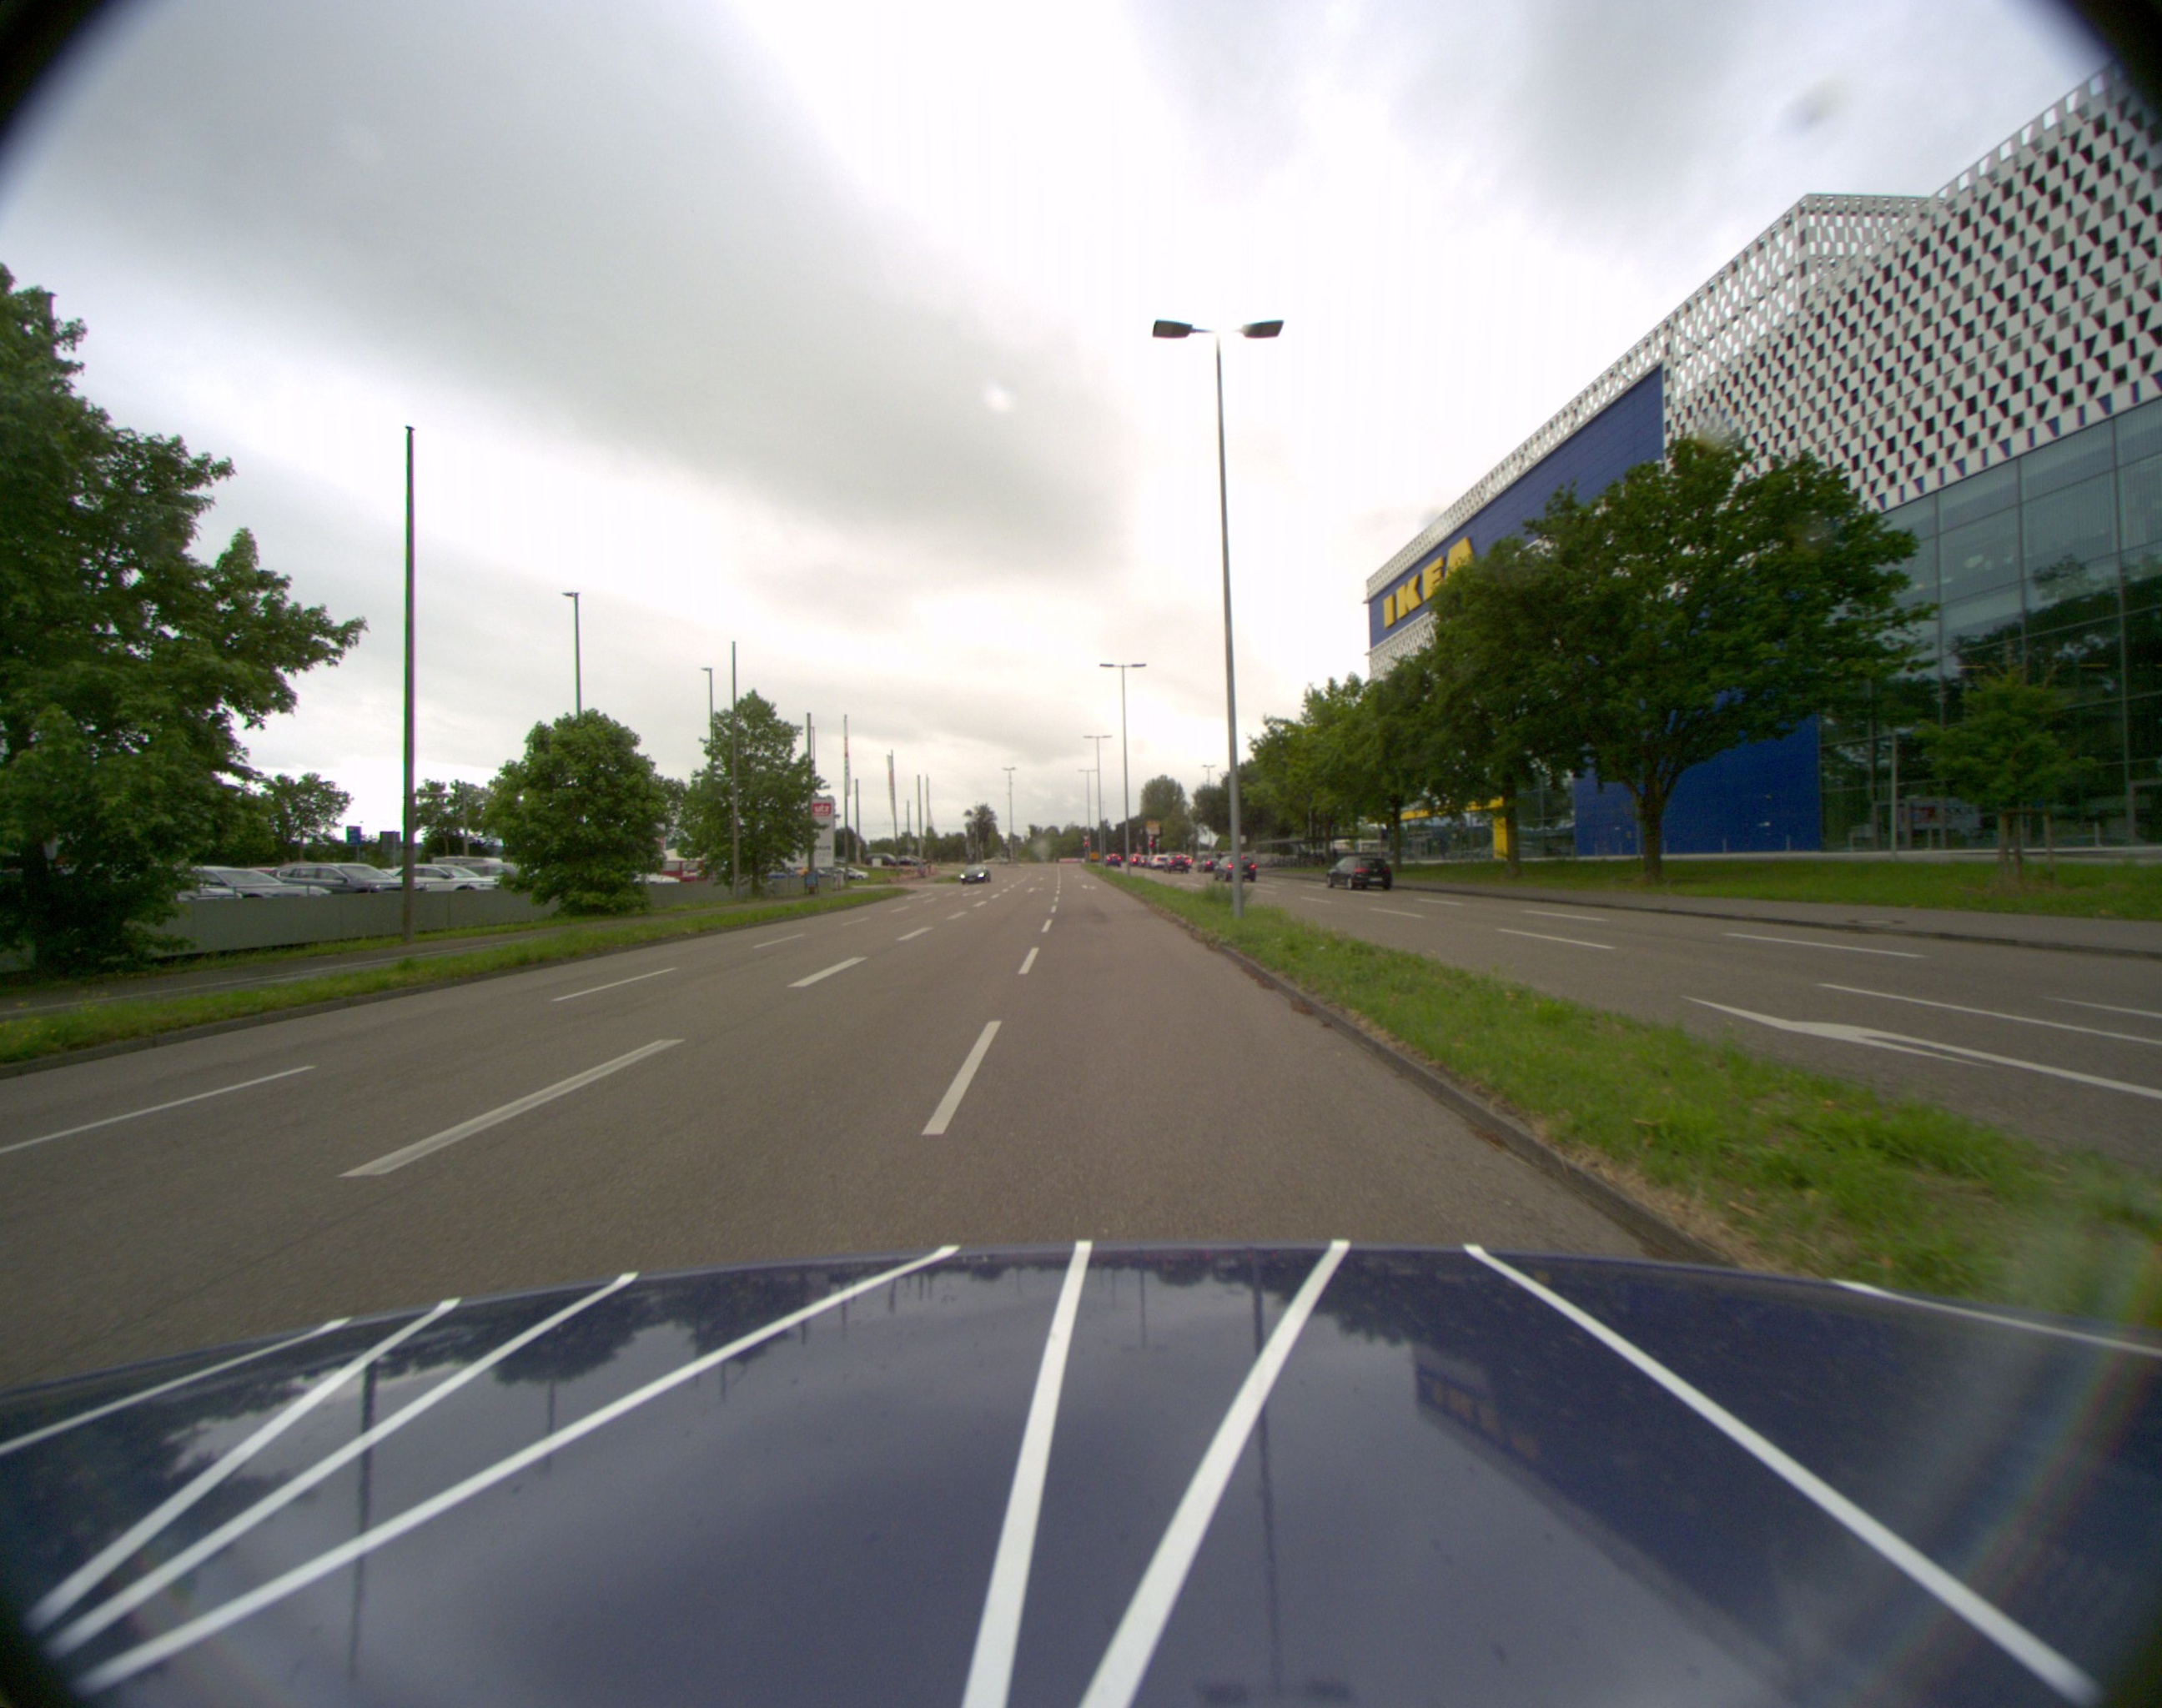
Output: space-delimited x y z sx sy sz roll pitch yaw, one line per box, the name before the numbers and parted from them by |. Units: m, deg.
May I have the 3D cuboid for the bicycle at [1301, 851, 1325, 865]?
bicycle | 21.330 0.327 69.858 2.021 1.150 0.593 -3 1 -1

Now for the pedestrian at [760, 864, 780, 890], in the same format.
pedestrian | -20.973 1.528 51.298 0.942 1.709 0.885 -2 -1 -2

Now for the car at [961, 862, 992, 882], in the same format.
car | -8.120 1.364 59.242 1.999 1.383 4.342 -2 1 -3

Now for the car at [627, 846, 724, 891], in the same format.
car | -24.840 0.918 46.665 4.734 2.563 2.171 -2 -2 1

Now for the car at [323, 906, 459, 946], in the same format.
car | -28.875 3.002 31.872 4.064 1.342 1.764 -2 0 1

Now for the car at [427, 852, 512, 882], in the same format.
car | -66.616 1.437 82.869 6.947 2.971 2.769 -2 -2 -2

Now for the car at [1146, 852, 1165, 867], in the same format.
car | 8.151 0.589 83.735 1.607 1.489 4.036 0 1 -2

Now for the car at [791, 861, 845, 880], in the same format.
car | -24.531 1.551 71.040 4.543 1.574 1.767 -2 2 -14

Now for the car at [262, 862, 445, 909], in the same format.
car | -23.660 1.016 24.825 4.163 1.342 1.810 -2 -2 -2

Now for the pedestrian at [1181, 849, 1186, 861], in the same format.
pedestrian | 16.172 0.130 120.146 0.664 1.756 0.686 1 4 -4

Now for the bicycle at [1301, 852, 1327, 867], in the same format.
bicycle | 20.172 0.446 65.845 2.019 1.150 0.594 -3 1 13

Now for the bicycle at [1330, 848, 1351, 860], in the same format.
bicycle | 27.571 0.010 80.650 2.021 1.150 0.593 -3 1 -3

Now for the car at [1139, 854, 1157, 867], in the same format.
car | 7.907 0.756 89.884 1.607 1.436 4.142 1 0 -2

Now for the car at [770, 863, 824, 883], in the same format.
car | -24.745 1.635 66.328 3.996 1.634 1.815 -1 1 4

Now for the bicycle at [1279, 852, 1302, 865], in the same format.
bicycle | 19.596 0.402 71.149 1.899 1.150 0.593 -3 1 -1

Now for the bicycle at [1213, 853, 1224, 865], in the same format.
bicycle | 14.755 0.507 81.567 0.644 1.243 2.056 -3 0 -1

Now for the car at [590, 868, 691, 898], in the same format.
car | -24.143 1.584 41.728 4.385 1.452 1.961 -2 -2 1

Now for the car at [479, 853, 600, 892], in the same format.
car | -23.751 0.810 33.437 4.064 1.531 1.764 -2 -2 1

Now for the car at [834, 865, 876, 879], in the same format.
car | -25.118 1.982 84.496 4.118 1.437 1.876 -2 -2 -2

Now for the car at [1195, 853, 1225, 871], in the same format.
car | 11.379 0.674 67.279 1.777 1.443 4.403 0 1 -2

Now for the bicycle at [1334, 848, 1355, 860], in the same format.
bicycle | 27.583 -0.003 79.544 2.021 1.150 0.593 -3 1 -3

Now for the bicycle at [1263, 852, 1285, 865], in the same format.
bicycle | 19.246 0.436 75.736 2.021 1.150 0.593 -2 1 -1

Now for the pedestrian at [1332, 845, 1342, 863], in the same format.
pedestrian | 25.202 0.021 74.836 0.679 1.735 0.808 -2 0 -1

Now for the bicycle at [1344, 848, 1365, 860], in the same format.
bicycle | 27.607 0.001 76.671 2.023 1.150 0.593 -3 1 -14

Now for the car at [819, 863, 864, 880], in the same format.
car | -24.889 1.797 79.100 4.104 1.573 1.769 -2 -1 -4

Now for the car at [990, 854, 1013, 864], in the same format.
car | -14.845 0.979 141.612 4.082 1.723 1.776 -1 -2 -10

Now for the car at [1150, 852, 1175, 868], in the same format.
car | 8.257 0.575 77.003 1.936 1.510 4.181 -2 0 -2

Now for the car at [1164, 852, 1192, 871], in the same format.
car | 8.238 0.615 64.673 1.762 1.445 3.999 0 1 -1

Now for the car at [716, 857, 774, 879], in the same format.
car | -34.748 1.427 78.647 5.046 2.153 2.122 -1 1 4

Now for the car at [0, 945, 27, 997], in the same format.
car | -37.110 3.915 24.303 3.998 1.613 1.783 -2 0 -4

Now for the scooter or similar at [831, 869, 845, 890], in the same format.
scooter or similar | -14.419 1.490 45.100 0.371 1.184 1.248 -1 0 -1

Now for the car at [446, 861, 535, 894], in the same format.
car | -34.215 1.376 44.082 3.745 1.757 1.734 -2 -2 1

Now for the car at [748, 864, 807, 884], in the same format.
car | -24.489 1.596 61.439 3.997 1.447 1.814 -2 1 0

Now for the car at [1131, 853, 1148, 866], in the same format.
car | 7.348 0.681 96.225 1.666 1.494 4.064 -2 0 -2

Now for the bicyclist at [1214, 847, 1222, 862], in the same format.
bicyclist | 14.714 0.086 81.545 0.642 1.568 1.000 -3 0 -2

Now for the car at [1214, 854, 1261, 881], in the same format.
car | 8.932 0.737 43.621 1.784 1.447 4.181 -1 1 0

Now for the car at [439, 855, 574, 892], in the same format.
car | -23.496 0.809 31.188 4.065 1.342 1.835 -2 -2 -2

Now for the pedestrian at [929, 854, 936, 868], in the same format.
pedestrian | -17.903 0.866 91.848 0.717 1.588 0.782 -2 3 -18

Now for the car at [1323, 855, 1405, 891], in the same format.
car | 12.356 0.779 33.471 1.936 1.447 4.181 1 0 -1

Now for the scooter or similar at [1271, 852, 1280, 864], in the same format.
scooter or similar | 19.179 0.413 75.001 0.358 1.178 1.295 -3 0 36

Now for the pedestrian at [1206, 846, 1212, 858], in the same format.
pedestrian | 18.046 -0.273 107.341 0.635 1.633 0.809 -2 3 -4

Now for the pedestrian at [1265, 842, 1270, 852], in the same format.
pedestrian | 33.129 -1.188 134.935 0.586 1.731 0.788 -2 -1 1

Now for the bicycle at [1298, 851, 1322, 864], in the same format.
bicycle | 21.661 0.312 71.797 2.021 1.150 0.593 -3 1 -1

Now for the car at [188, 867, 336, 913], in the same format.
car | -33.893 1.475 31.530 4.182 1.654 1.833 -2 0 2

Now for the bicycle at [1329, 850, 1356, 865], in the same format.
bicycle | 22.033 0.324 63.938 2.020 1.116 0.593 -3 1 1

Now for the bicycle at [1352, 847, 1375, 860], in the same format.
bicycle | 27.749 -0.037 74.638 2.022 1.150 0.593 -3 1 -7

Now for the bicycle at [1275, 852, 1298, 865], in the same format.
bicycle | 19.542 0.422 72.228 1.899 1.150 0.593 -3 1 -1

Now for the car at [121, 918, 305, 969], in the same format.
car | -29.090 2.976 25.563 4.064 1.342 1.763 -2 0 -1

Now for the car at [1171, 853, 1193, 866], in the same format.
car | 11.368 0.576 85.882 1.871 1.446 4.167 0 0 -1

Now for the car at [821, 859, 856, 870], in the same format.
car | -34.641 1.528 108.484 4.317 1.455 1.969 0 0 4

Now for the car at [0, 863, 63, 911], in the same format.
car | -38.662 1.129 26.351 3.998 1.613 1.832 0 0 -3

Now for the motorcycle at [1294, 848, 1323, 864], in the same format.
motorcycle | 21.808 0.209 72.907 2.501 1.347 0.799 -4 1 -13

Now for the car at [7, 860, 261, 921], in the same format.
car | -23.703 0.911 19.143 4.065 1.342 1.764 -2 -2 -2

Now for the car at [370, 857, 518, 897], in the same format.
car | -24.123 0.890 28.875 4.065 1.342 1.764 -2 -2 -2

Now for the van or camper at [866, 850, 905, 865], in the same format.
van or camper | -27.572 0.498 107.232 4.744 2.003 2.125 0 3 15

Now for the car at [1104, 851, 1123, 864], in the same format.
car | 3.967 0.361 92.627 1.936 1.477 4.437 0 1 -2

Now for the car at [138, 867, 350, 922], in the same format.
car | -23.903 1.145 21.817 4.065 1.391 1.764 -2 -2 -2

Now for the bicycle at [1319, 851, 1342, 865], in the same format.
bicycle | 21.706 0.375 66.118 1.814 1.076 0.593 -3 1 -1

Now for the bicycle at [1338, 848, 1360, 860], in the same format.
bicycle | 27.596 -0.021 78.312 2.021 1.150 0.593 -3 1 -3
